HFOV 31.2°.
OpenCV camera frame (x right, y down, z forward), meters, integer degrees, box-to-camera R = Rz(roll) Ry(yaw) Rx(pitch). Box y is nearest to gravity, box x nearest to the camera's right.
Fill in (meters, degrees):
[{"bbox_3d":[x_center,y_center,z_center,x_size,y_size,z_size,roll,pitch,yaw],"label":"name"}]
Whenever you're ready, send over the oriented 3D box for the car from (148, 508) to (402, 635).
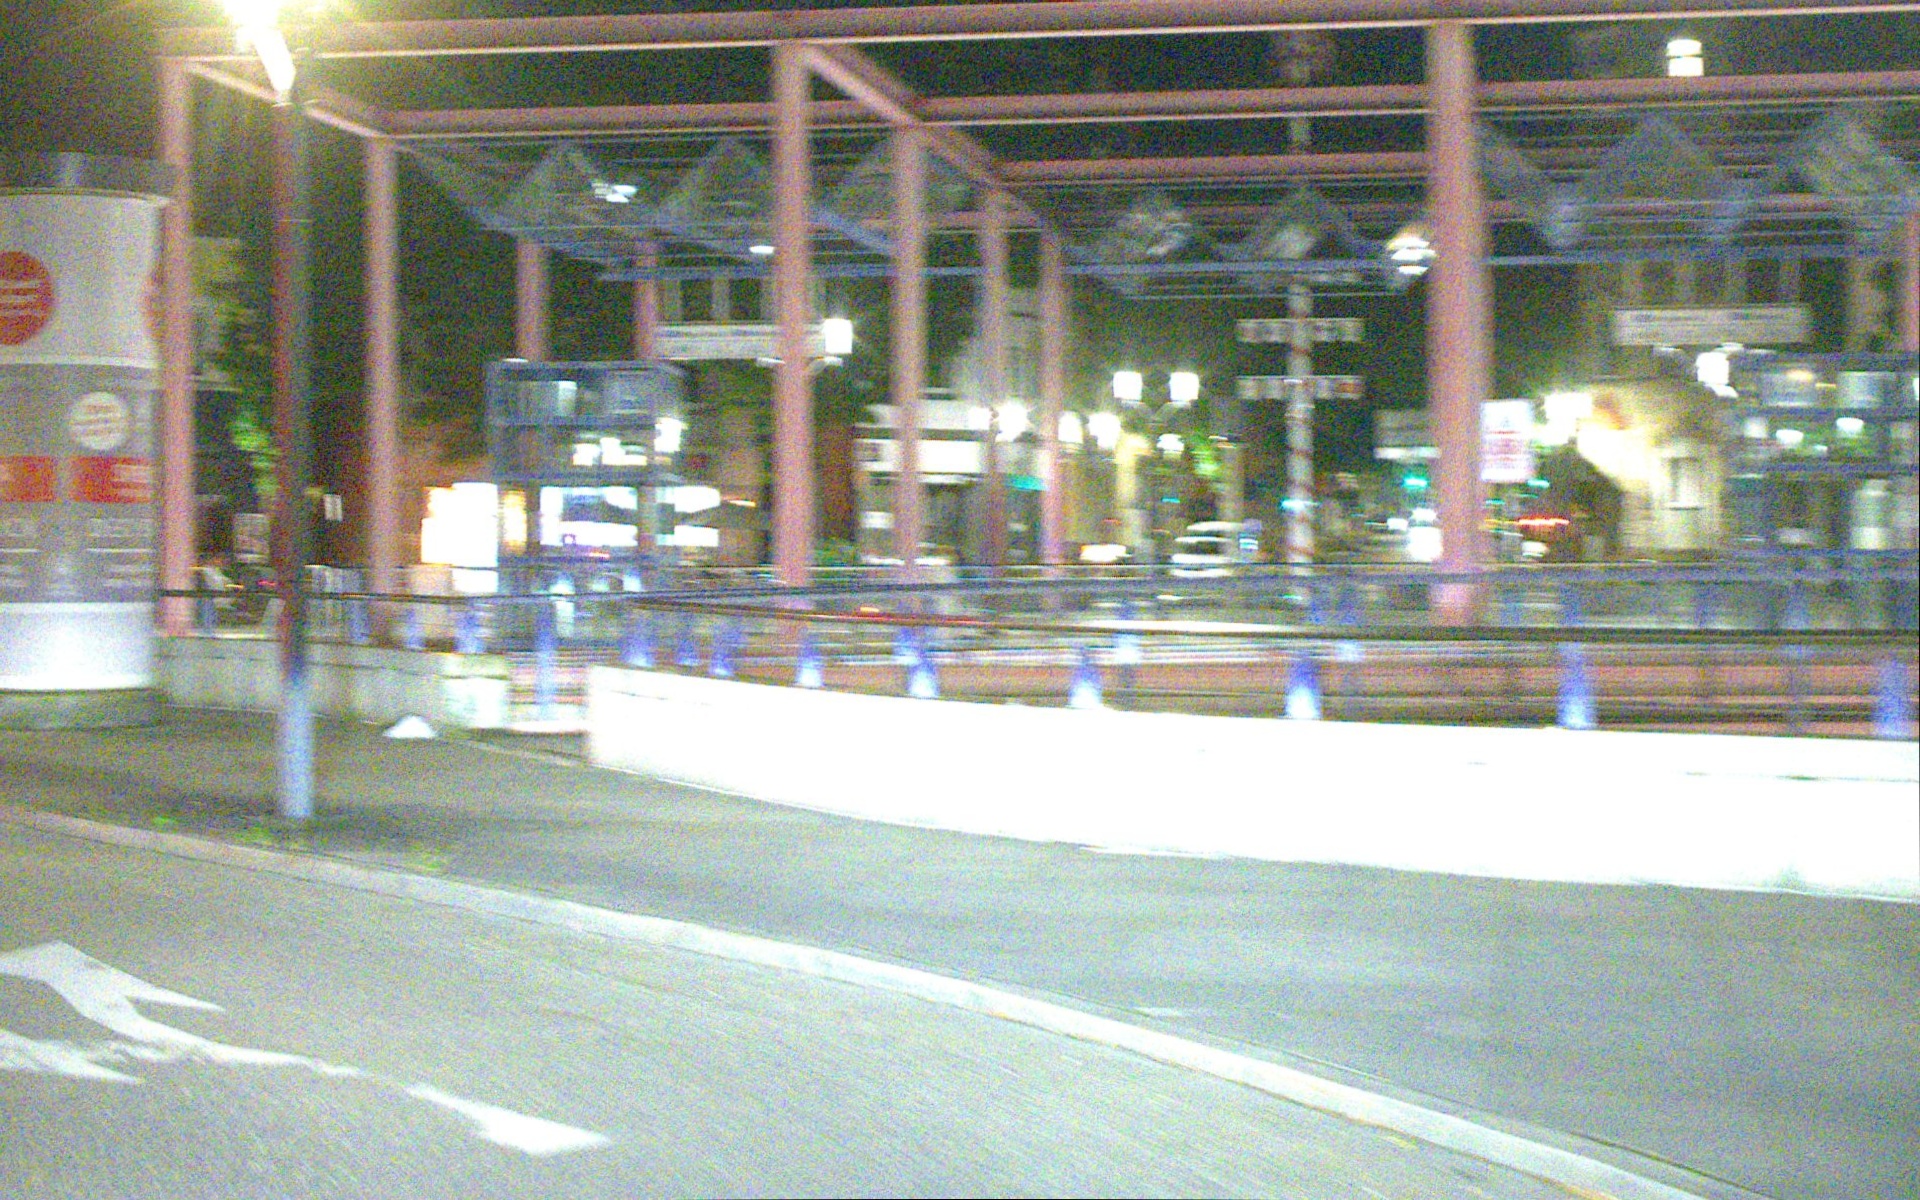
[{"bbox_3d":[-8.852,-0.406,44.810,1.994,1.568,4.328,0,1,7],"label":"car"}]
